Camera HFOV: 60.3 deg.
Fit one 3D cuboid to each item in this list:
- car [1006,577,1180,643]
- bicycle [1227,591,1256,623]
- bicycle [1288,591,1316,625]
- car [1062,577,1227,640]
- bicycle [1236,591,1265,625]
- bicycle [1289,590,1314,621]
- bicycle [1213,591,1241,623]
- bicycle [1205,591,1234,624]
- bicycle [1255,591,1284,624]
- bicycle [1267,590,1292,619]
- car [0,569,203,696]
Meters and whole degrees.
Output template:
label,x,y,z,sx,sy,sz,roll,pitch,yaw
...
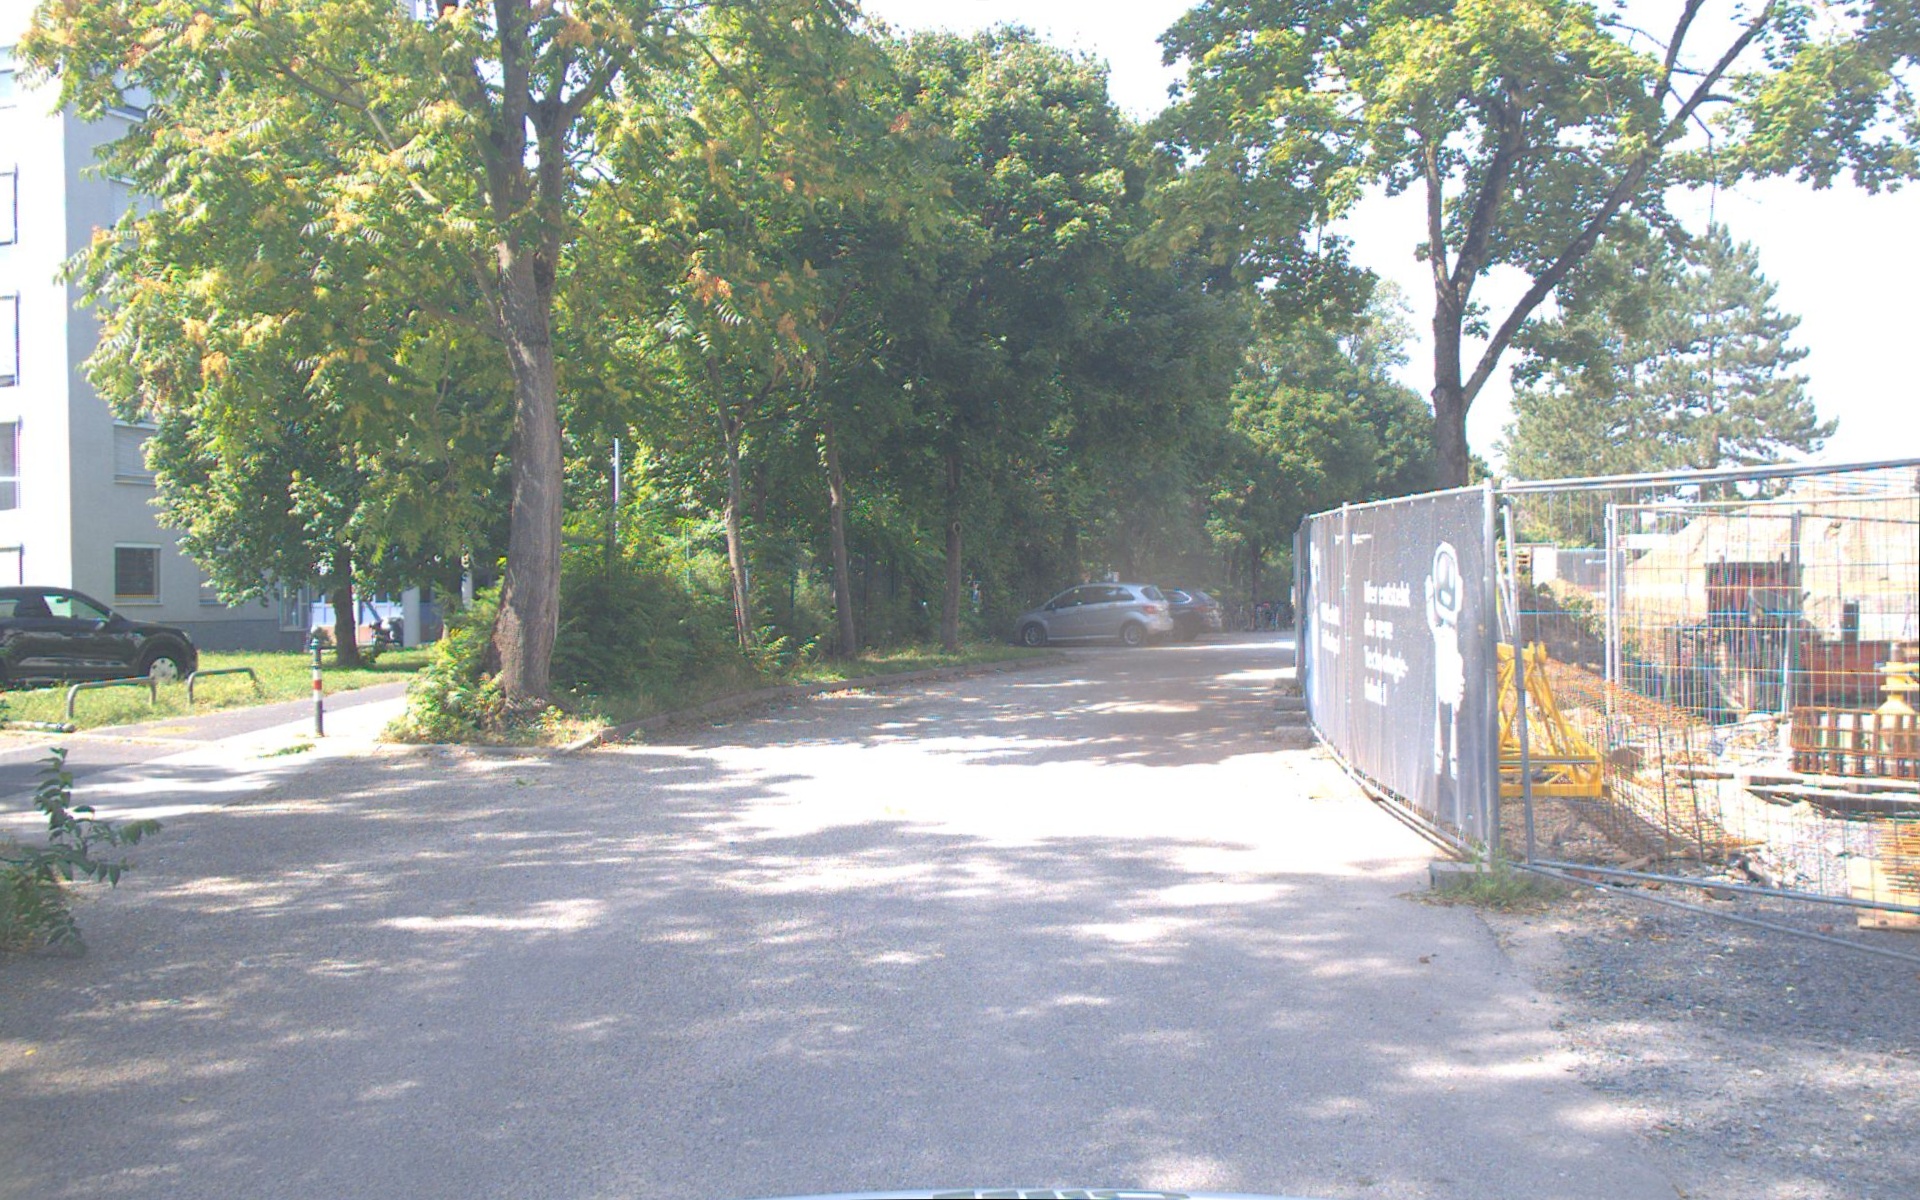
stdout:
label,x,y,z,sx,sy,sz,roll,pitch,yaw
car,3.457,0.236,42.905,4.064,1.641,1.999,0,1,24
bicycle,10.211,0.239,59.948,0.489,1.127,1.798,0,1,27
bicycle,11.651,0.255,56.294,0.489,1.127,1.798,0,1,27
car,5.028,0.203,45.075,4.064,1.641,1.999,0,1,24
bicycle,10.192,0.273,57.908,0.489,1.127,1.798,0,1,27
bicycle,12.909,0.195,62.473,0.489,1.127,1.798,0,1,27
bicycle,9.718,0.253,60.146,0.489,1.127,1.798,0,1,27
bicycle,9.122,0.267,58.096,0.489,1.127,1.798,0,1,27
bicycle,10.726,0.248,57.287,0.489,1.127,1.798,0,1,27
bicycle,12.575,0.163,65.073,0.489,1.127,1.798,0,1,27
car,-12.043,0.396,21.367,1.669,1.554,3.906,-1,0,28
